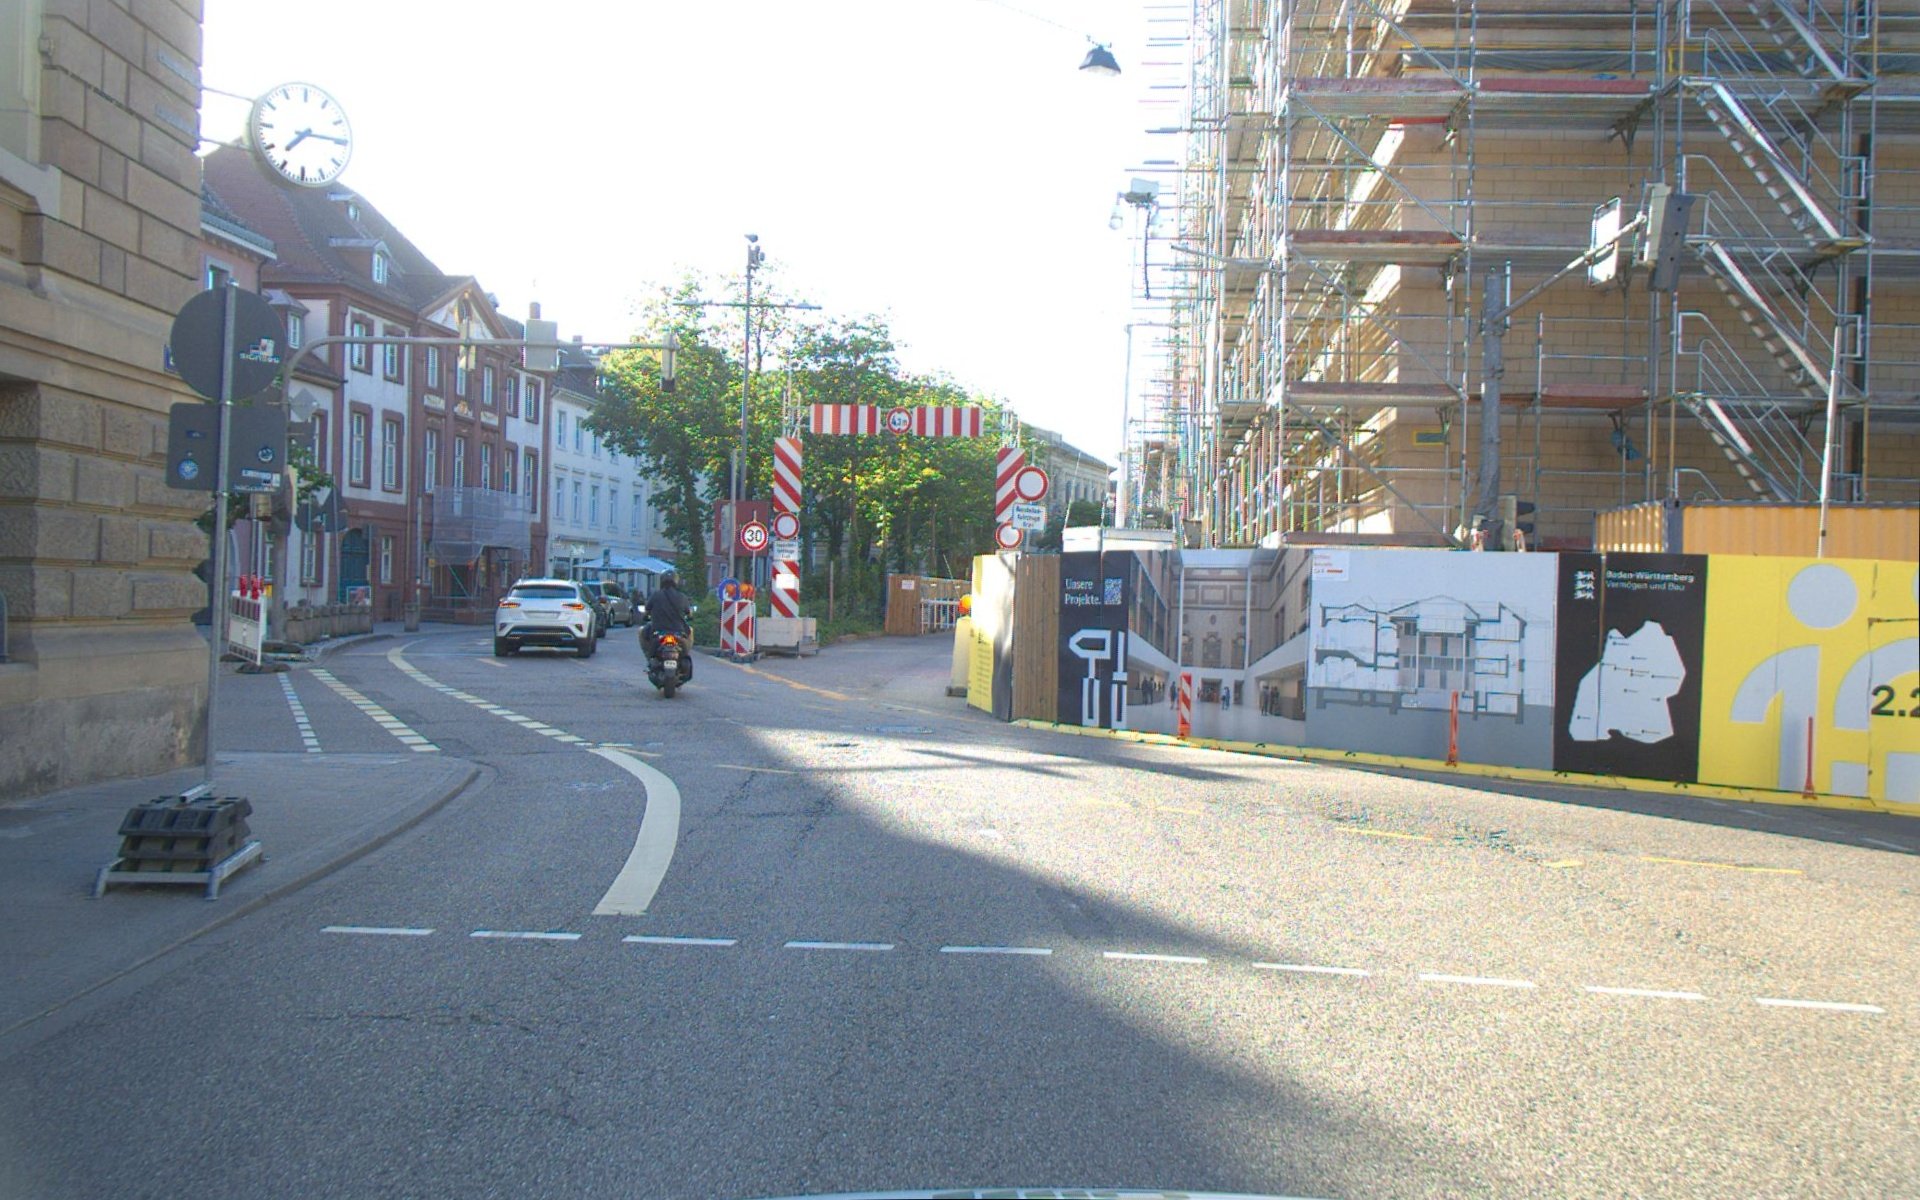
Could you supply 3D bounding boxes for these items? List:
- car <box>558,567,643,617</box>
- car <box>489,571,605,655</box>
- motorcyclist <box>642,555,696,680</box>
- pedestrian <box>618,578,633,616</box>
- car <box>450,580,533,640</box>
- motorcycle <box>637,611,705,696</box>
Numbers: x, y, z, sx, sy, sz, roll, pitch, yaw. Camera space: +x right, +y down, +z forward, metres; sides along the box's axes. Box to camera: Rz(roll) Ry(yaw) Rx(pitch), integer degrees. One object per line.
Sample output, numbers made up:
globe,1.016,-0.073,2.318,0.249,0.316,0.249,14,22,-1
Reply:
car,-13.256,-0.288,61.195,1.801,1.743,4.060,2,0,7
car,-8.113,0.227,32.771,1.816,1.506,4.049,2,0,-9
motorcyclist,-4.027,0.238,22.865,0.646,1.679,0.648,2,0,-13
pedestrian,-16.098,-0.147,79.551,0.428,1.806,0.597,1,0,20
car,-12.735,0.237,45.136,1.807,1.489,4.047,2,0,-11
motorcycle,-4.010,0.722,22.849,0.783,1.085,1.719,2,0,-14
